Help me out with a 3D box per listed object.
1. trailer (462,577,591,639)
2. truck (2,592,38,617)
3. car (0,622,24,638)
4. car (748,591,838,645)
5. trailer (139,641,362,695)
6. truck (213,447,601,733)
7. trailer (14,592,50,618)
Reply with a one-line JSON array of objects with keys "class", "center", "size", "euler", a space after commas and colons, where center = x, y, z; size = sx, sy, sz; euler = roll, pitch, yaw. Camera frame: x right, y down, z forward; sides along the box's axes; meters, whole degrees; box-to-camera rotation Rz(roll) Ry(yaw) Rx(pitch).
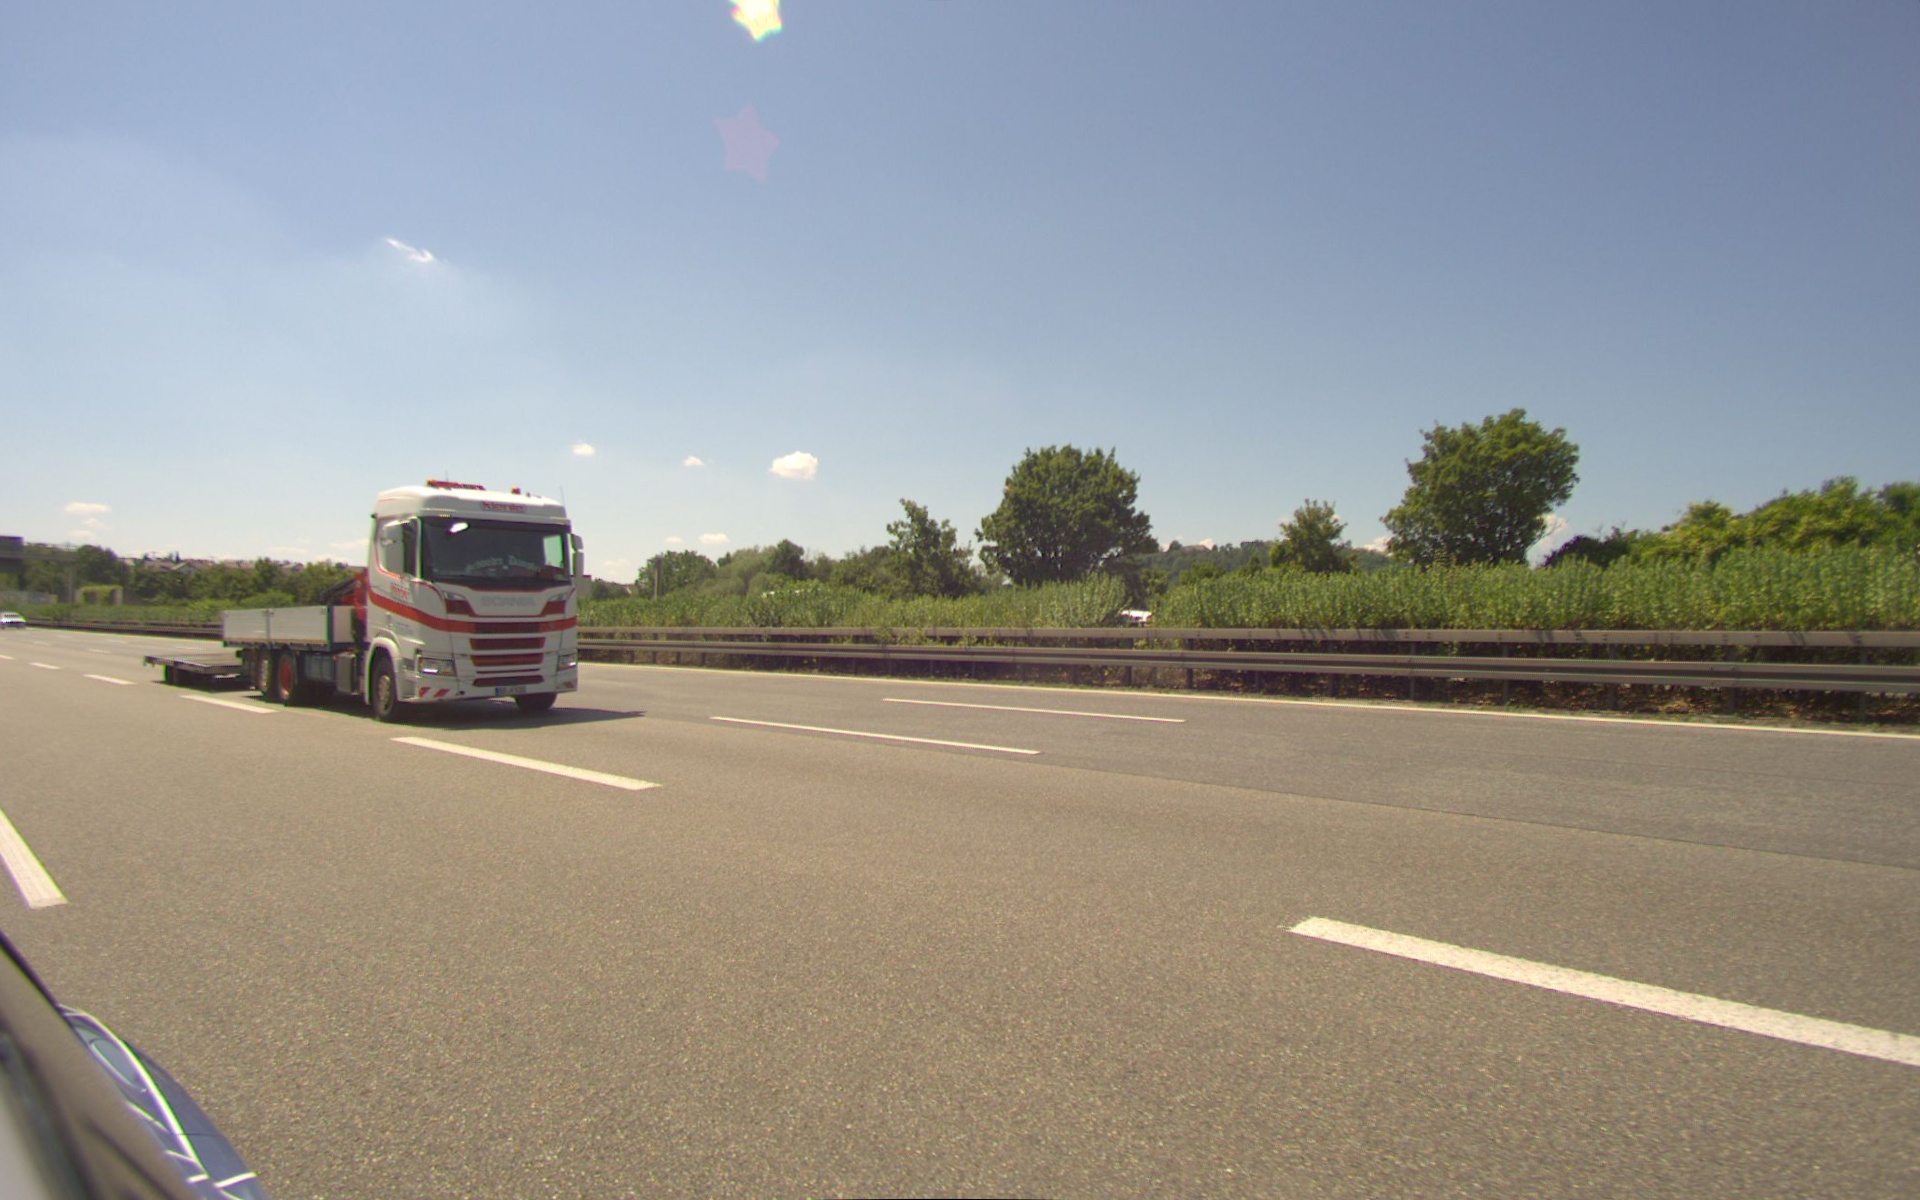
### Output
[{"class": "trailer", "center": [-30.723, 0.629, 71.174], "size": [13.710, 3.977, 2.512], "euler": [-1, -1, 40]}, {"class": "truck", "center": [-154.705, 0.820, 166.530], "size": [10.309, 3.997, 2.972], "euler": [0, -1, 39]}, {"class": "car", "center": [-93.819, 2.993, 99.856], "size": [3.999, 1.564, 1.858], "euler": [-2, -2, 42]}, {"class": "car", "center": [-7.510, 0.801, 45.417], "size": [3.982, 2.322, 1.946], "euler": [-1, -1, 42]}, {"class": "trailer", "center": [-17.164, 1.541, 24.232], "size": [7.757, 0.941, 2.686], "euler": [-1, -1, 42]}, {"class": "truck", "center": [-10.378, -0.051, 18.101], "size": [10.668, 3.831, 2.686], "euler": [-1, -1, 42]}, {"class": "trailer", "center": [-147.321, 0.806, 160.636], "size": [8.648, 3.997, 2.894], "euler": [0, -1, 39]}]
